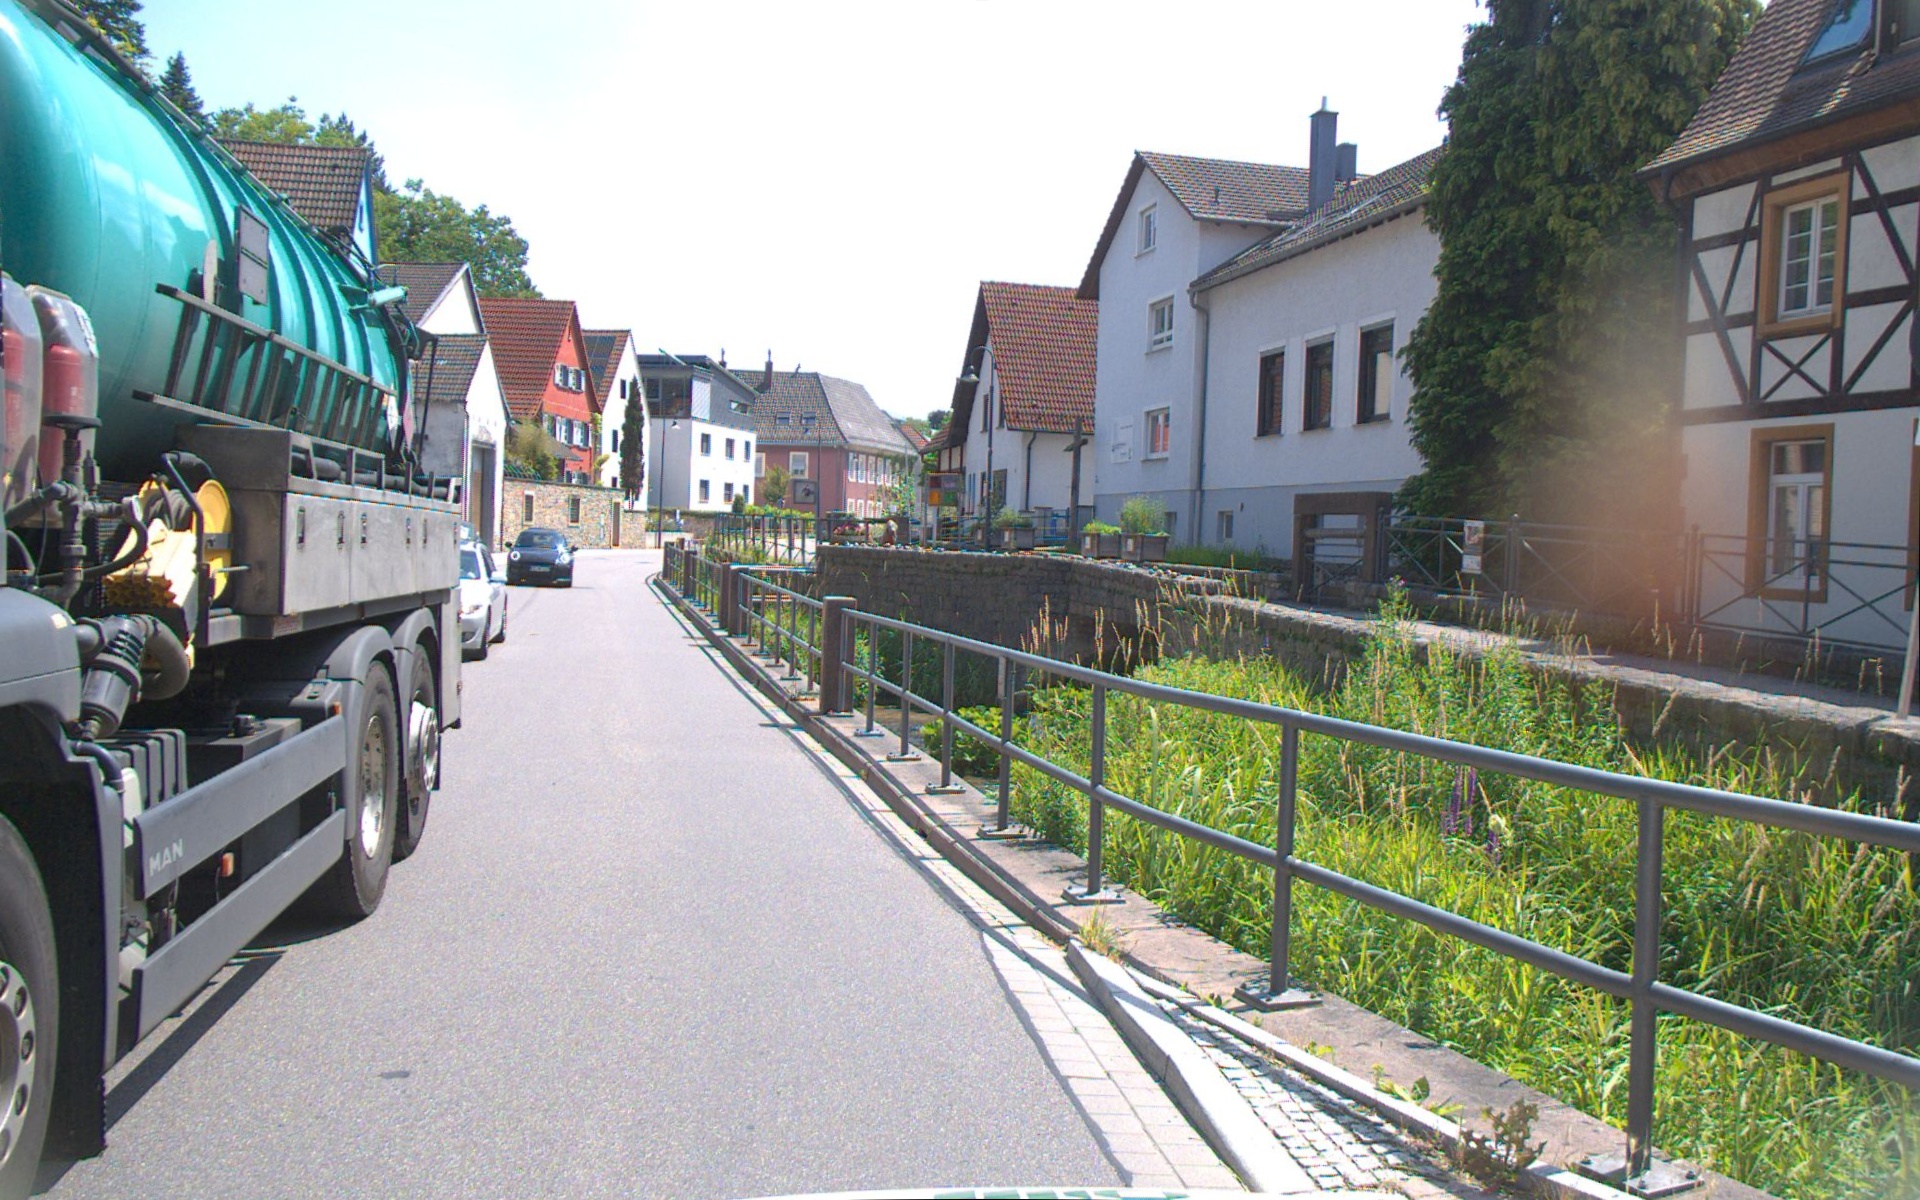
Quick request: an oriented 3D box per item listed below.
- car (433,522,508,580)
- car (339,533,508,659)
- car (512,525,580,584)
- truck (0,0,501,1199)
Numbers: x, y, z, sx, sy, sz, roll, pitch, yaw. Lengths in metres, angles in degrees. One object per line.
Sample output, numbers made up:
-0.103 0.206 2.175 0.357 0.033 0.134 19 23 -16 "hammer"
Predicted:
-14.419 -1.480 48.844 1.686 1.556 3.848 1 3 -10 "car"
-7.250 -0.122 22.732 1.863 1.526 4.598 1 2 -14 "car"
-11.082 -1.225 44.349 1.670 1.491 4.420 1 2 -14 "car"
-3.426 -0.560 6.030 2.367 3.721 9.547 0 2 -10 "truck"
